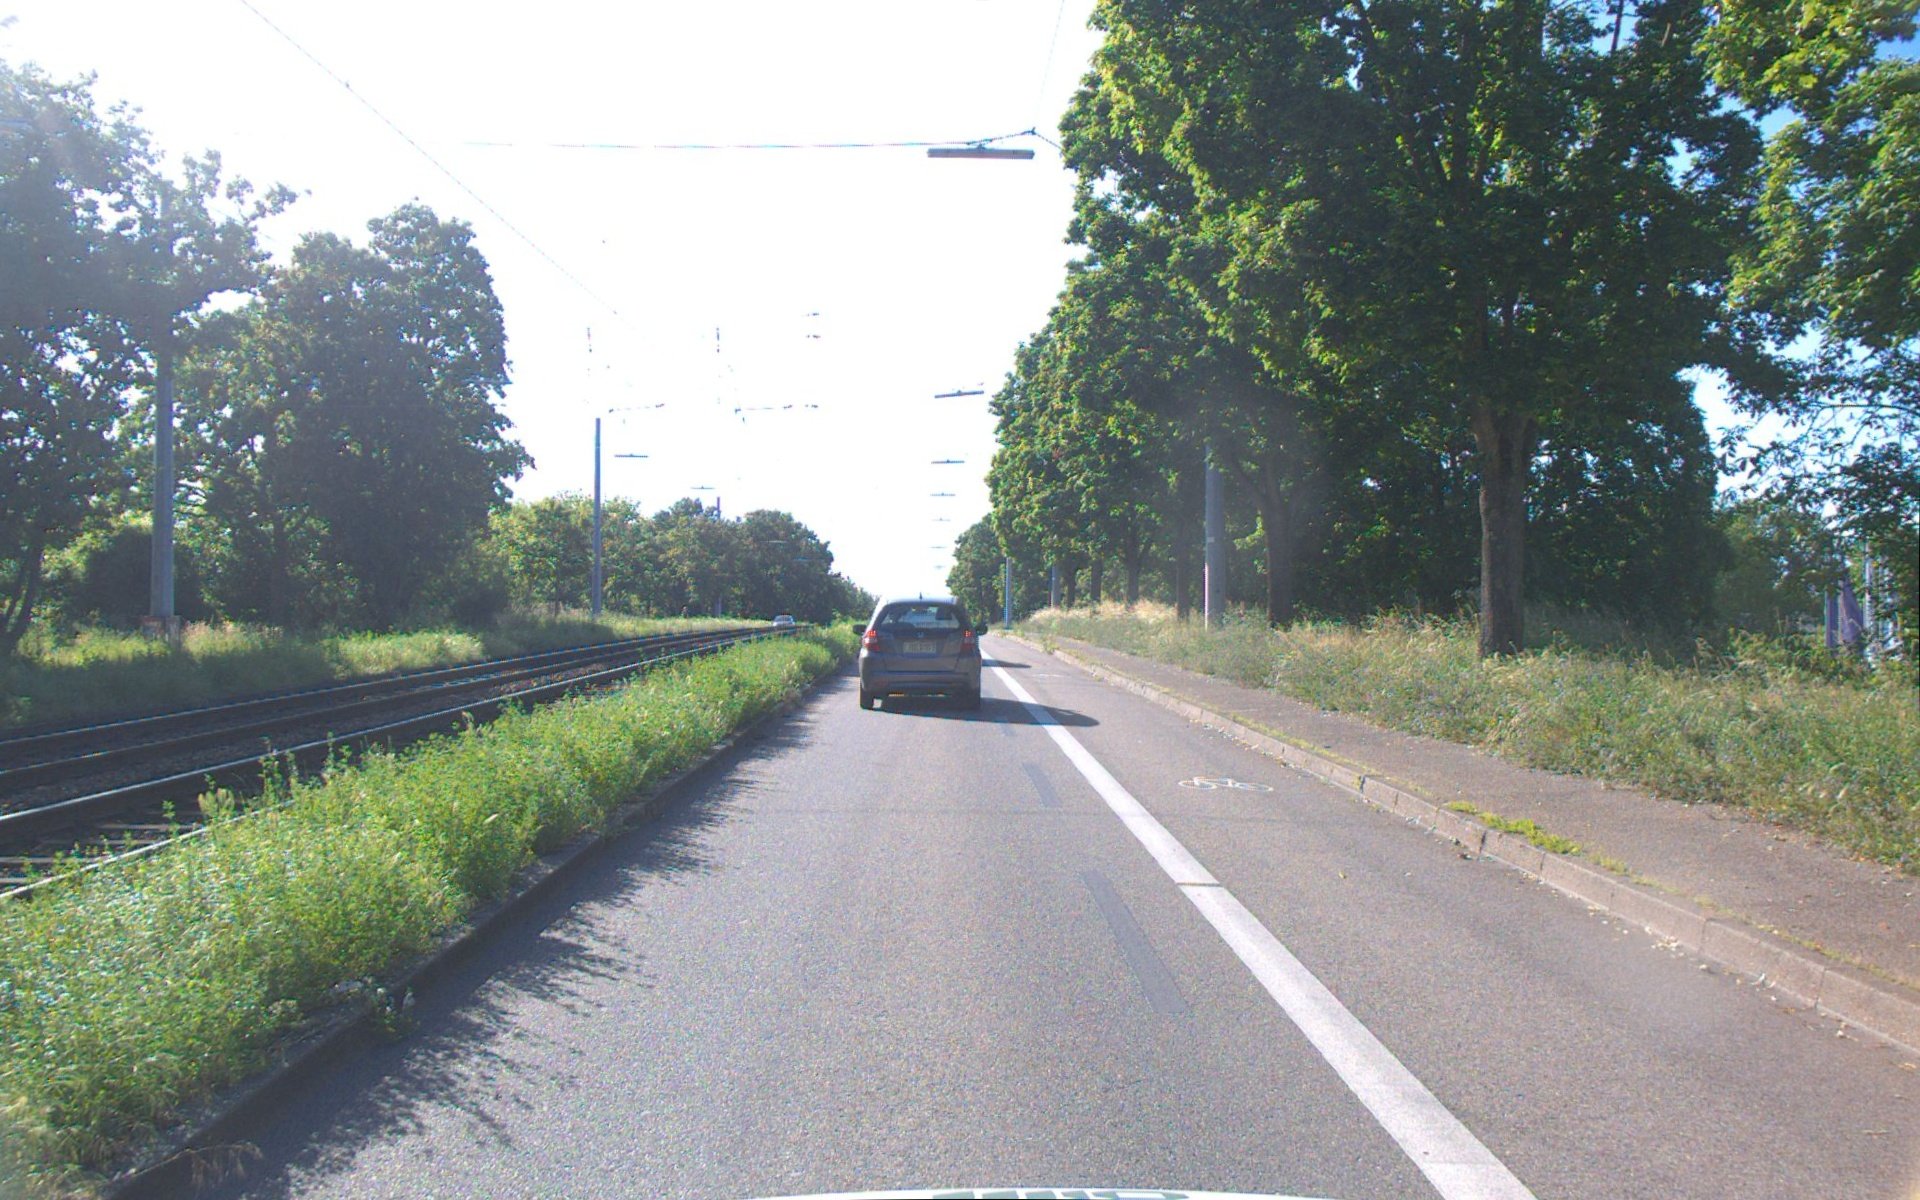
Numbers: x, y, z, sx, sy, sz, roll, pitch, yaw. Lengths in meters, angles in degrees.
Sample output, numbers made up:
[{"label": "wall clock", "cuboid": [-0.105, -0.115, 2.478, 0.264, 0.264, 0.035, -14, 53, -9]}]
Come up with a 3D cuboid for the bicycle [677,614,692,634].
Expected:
[{"label": "bicycle", "cuboid": [-17.939, 1.550, 107.728, 0.578, 1.283, 2.427, 1, 0, -1]}]

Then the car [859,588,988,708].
[{"label": "car", "cuboid": [-0.542, 0.625, 23.477, 1.636, 1.534, 3.809, 1, 0, -2]}]

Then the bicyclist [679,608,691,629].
[{"label": "bicyclist", "cuboid": [-17.924, 1.185, 107.826, 0.570, 1.333, 0.987, 1, 0, -1]}]

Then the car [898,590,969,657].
[{"label": "car", "cuboid": [-0.636, 0.544, 40.530, 1.621, 1.534, 3.810, 1, 0, 0]}]
